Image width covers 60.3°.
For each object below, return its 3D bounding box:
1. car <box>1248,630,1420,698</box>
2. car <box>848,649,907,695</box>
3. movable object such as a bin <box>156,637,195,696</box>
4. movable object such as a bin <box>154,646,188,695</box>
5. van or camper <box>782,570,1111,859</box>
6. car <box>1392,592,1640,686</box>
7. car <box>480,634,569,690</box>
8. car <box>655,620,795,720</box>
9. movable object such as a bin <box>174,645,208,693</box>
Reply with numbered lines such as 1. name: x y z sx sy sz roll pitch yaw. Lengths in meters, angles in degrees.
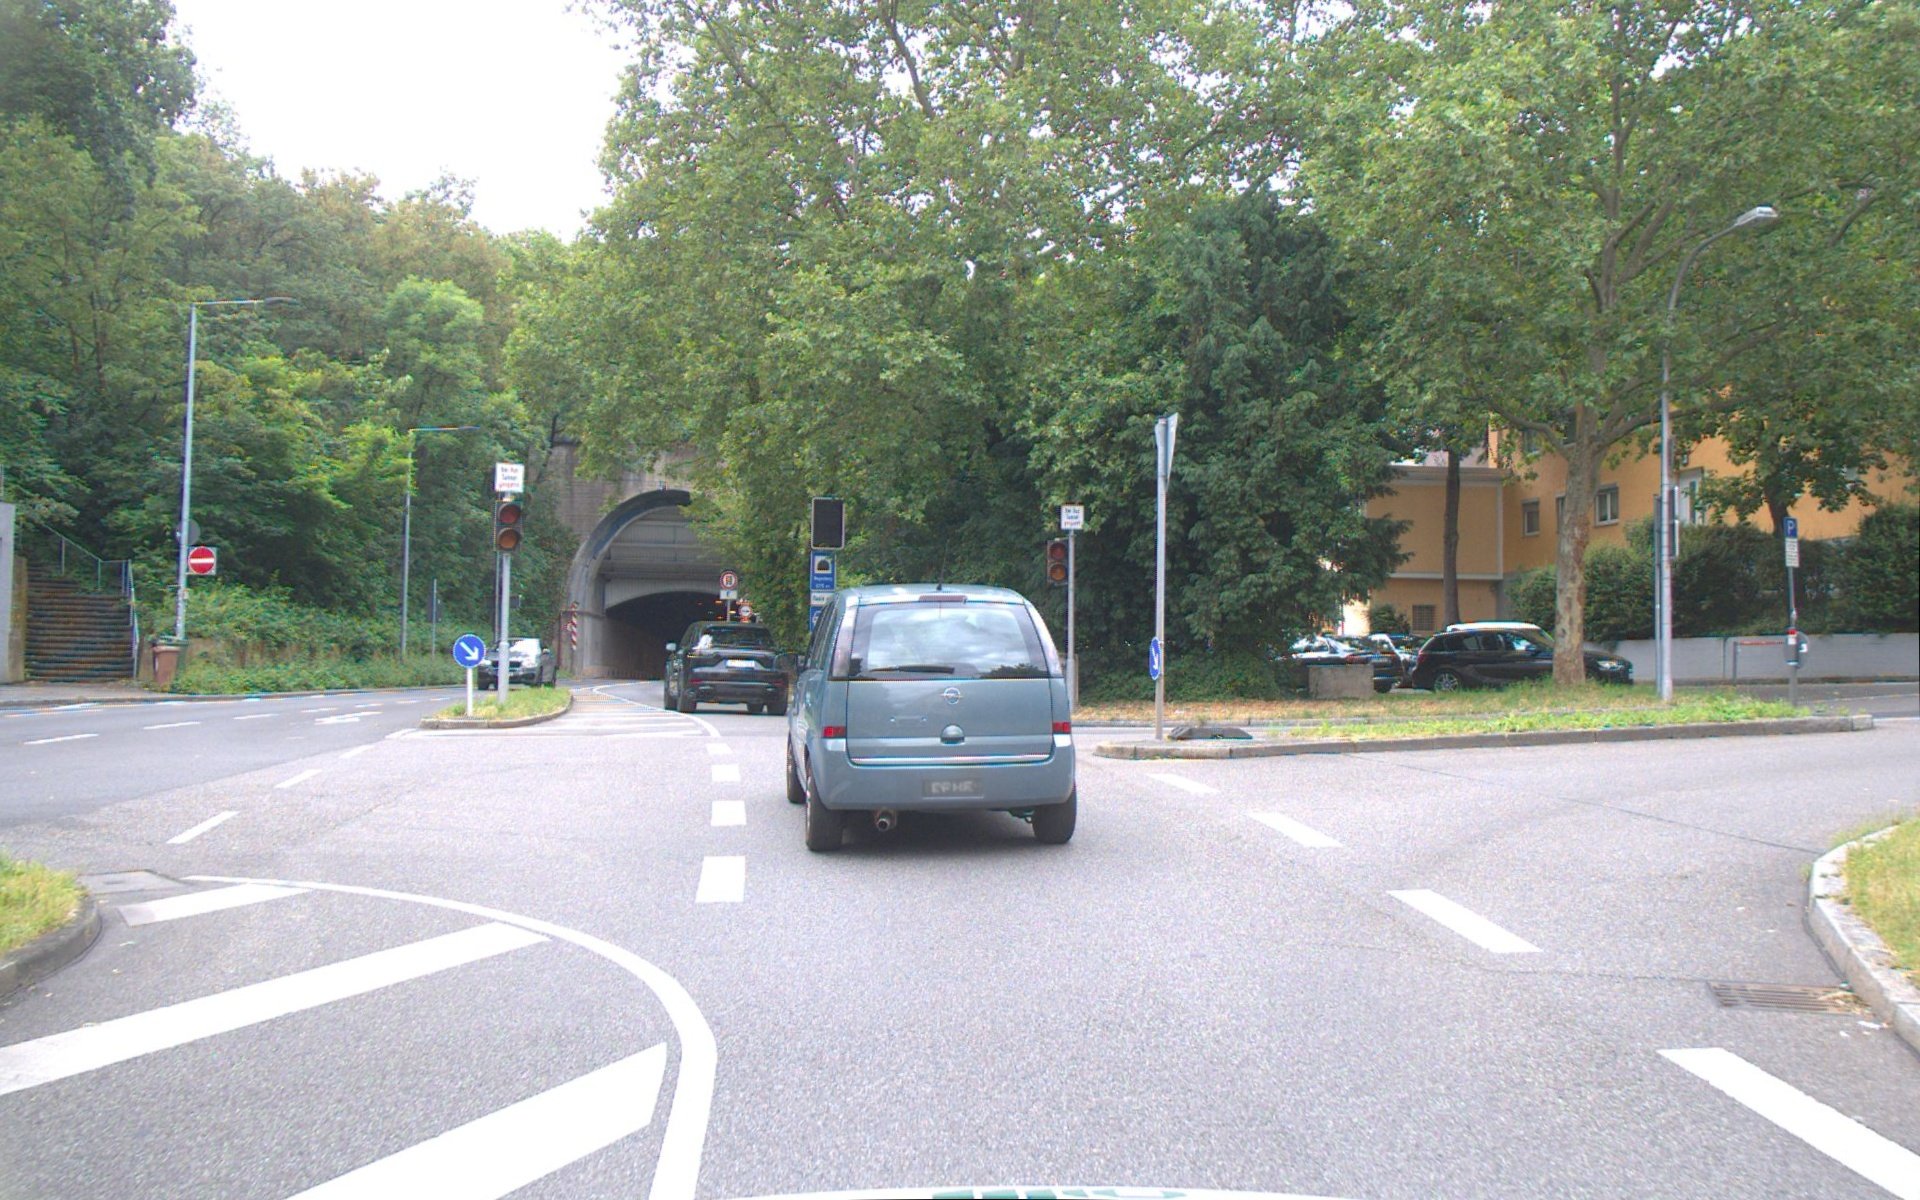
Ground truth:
1. car: 9.420 1.610 42.089 1.964 1.606 4.876 0 -2 -20
2. car: -2.868 2.445 56.650 1.750 1.467 5.056 0 -2 -6
3. movable object such as a bin: -16.797 1.421 35.438 0.595 1.206 0.490 4 -3 -16
4. movable object such as a bin: -16.644 1.489 34.884 0.507 0.984 0.443 4 -3 -15
5. van or camper: -0.255 0.661 11.248 1.703 1.605 3.638 -1 -1 -9
6. car: 11.130 0.784 33.187 4.332 1.511 1.858 -6 -2 32
7. car: -14.126 2.017 53.945 1.832 1.728 4.932 0 -2 -3
8. car: -4.440 1.238 30.807 1.962 1.682 3.980 0 0 -18
9. movable object such as a bin: -17.212 1.543 37.039 0.546 1.043 0.429 4 -3 -16
